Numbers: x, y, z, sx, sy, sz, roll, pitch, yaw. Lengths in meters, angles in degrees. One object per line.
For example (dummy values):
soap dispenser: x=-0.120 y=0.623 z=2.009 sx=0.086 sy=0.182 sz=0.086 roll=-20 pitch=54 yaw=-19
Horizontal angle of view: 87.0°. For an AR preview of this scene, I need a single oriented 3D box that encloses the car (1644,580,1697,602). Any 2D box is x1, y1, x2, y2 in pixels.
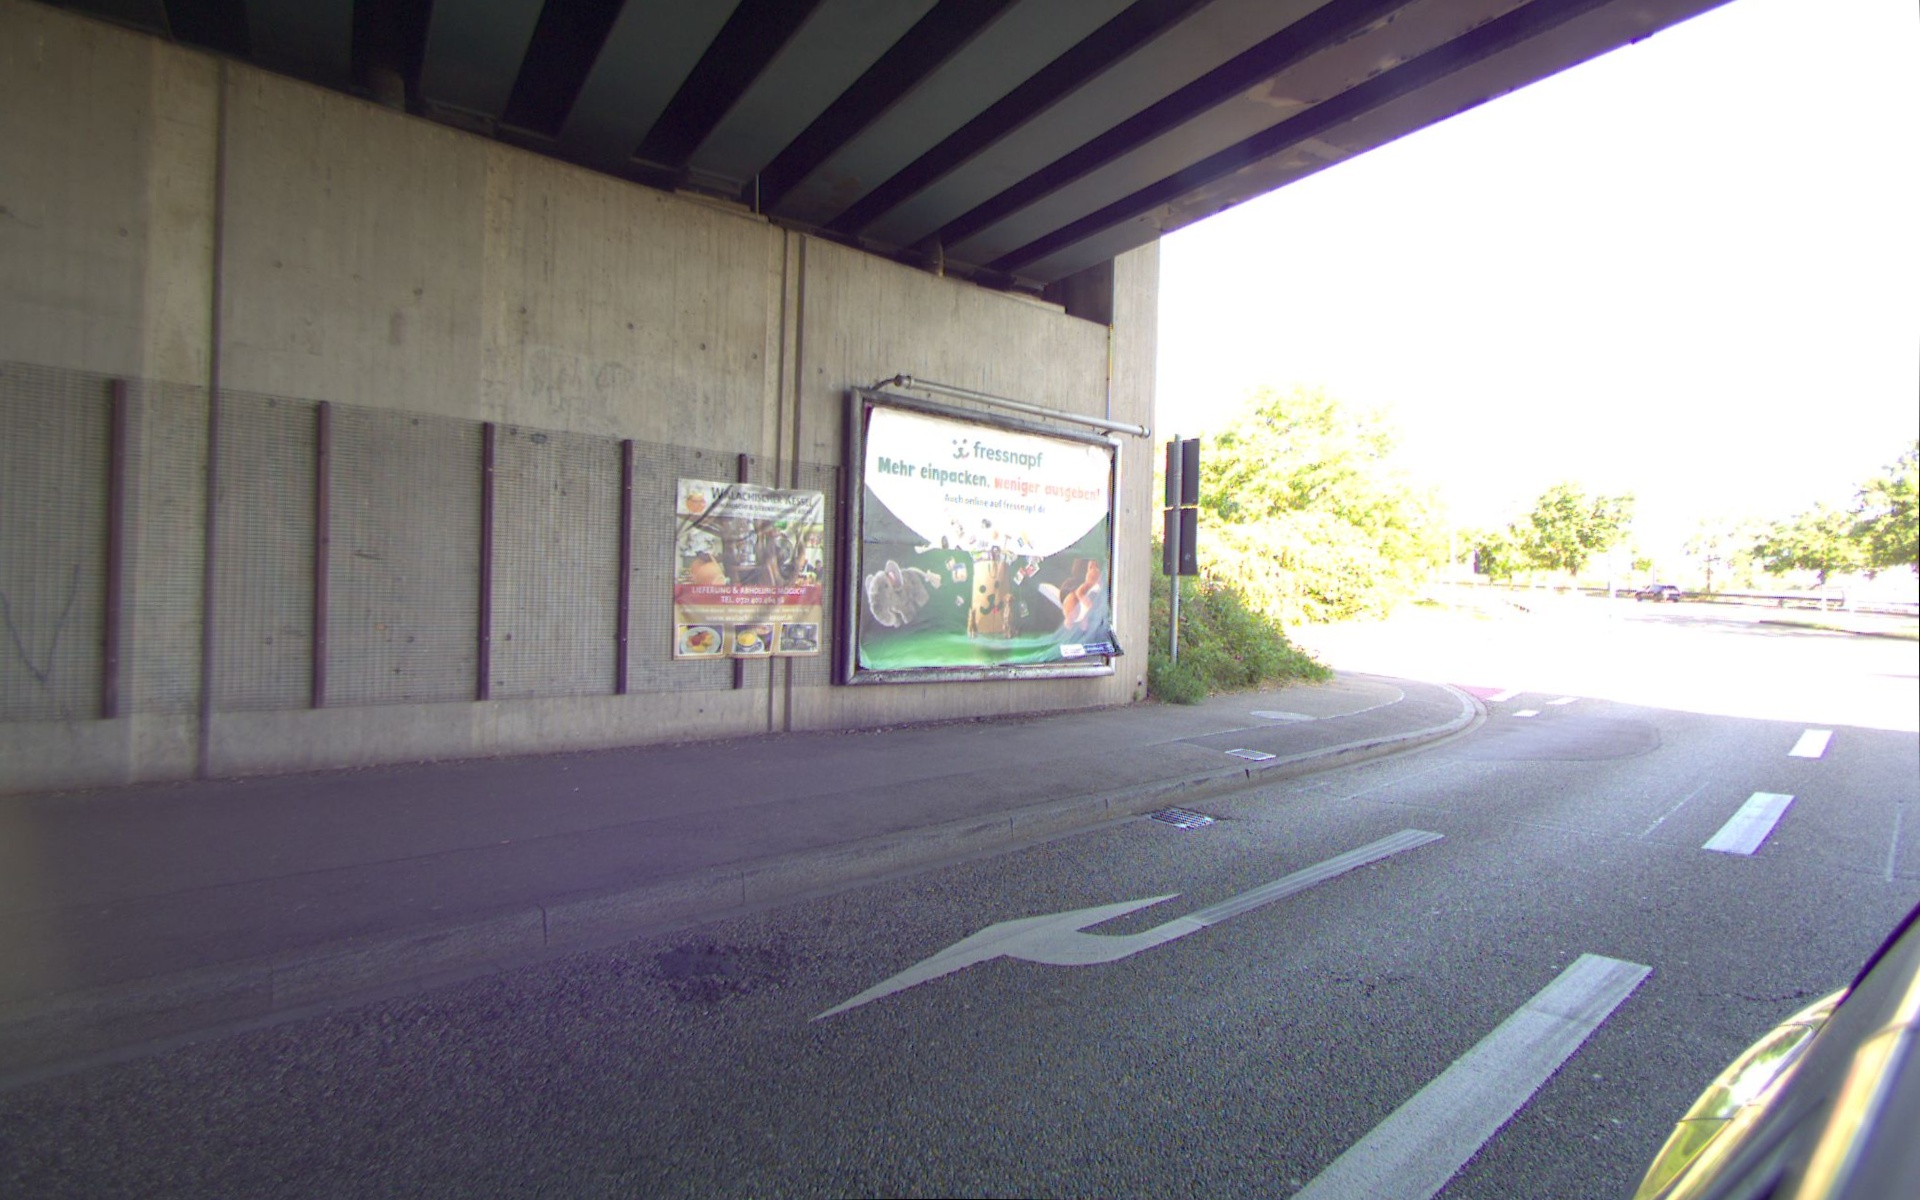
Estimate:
car: x=63.090 y=-0.843 z=89.965 sx=1.799 sy=1.759 sz=4.523 roll=3 pitch=2 yaw=6
